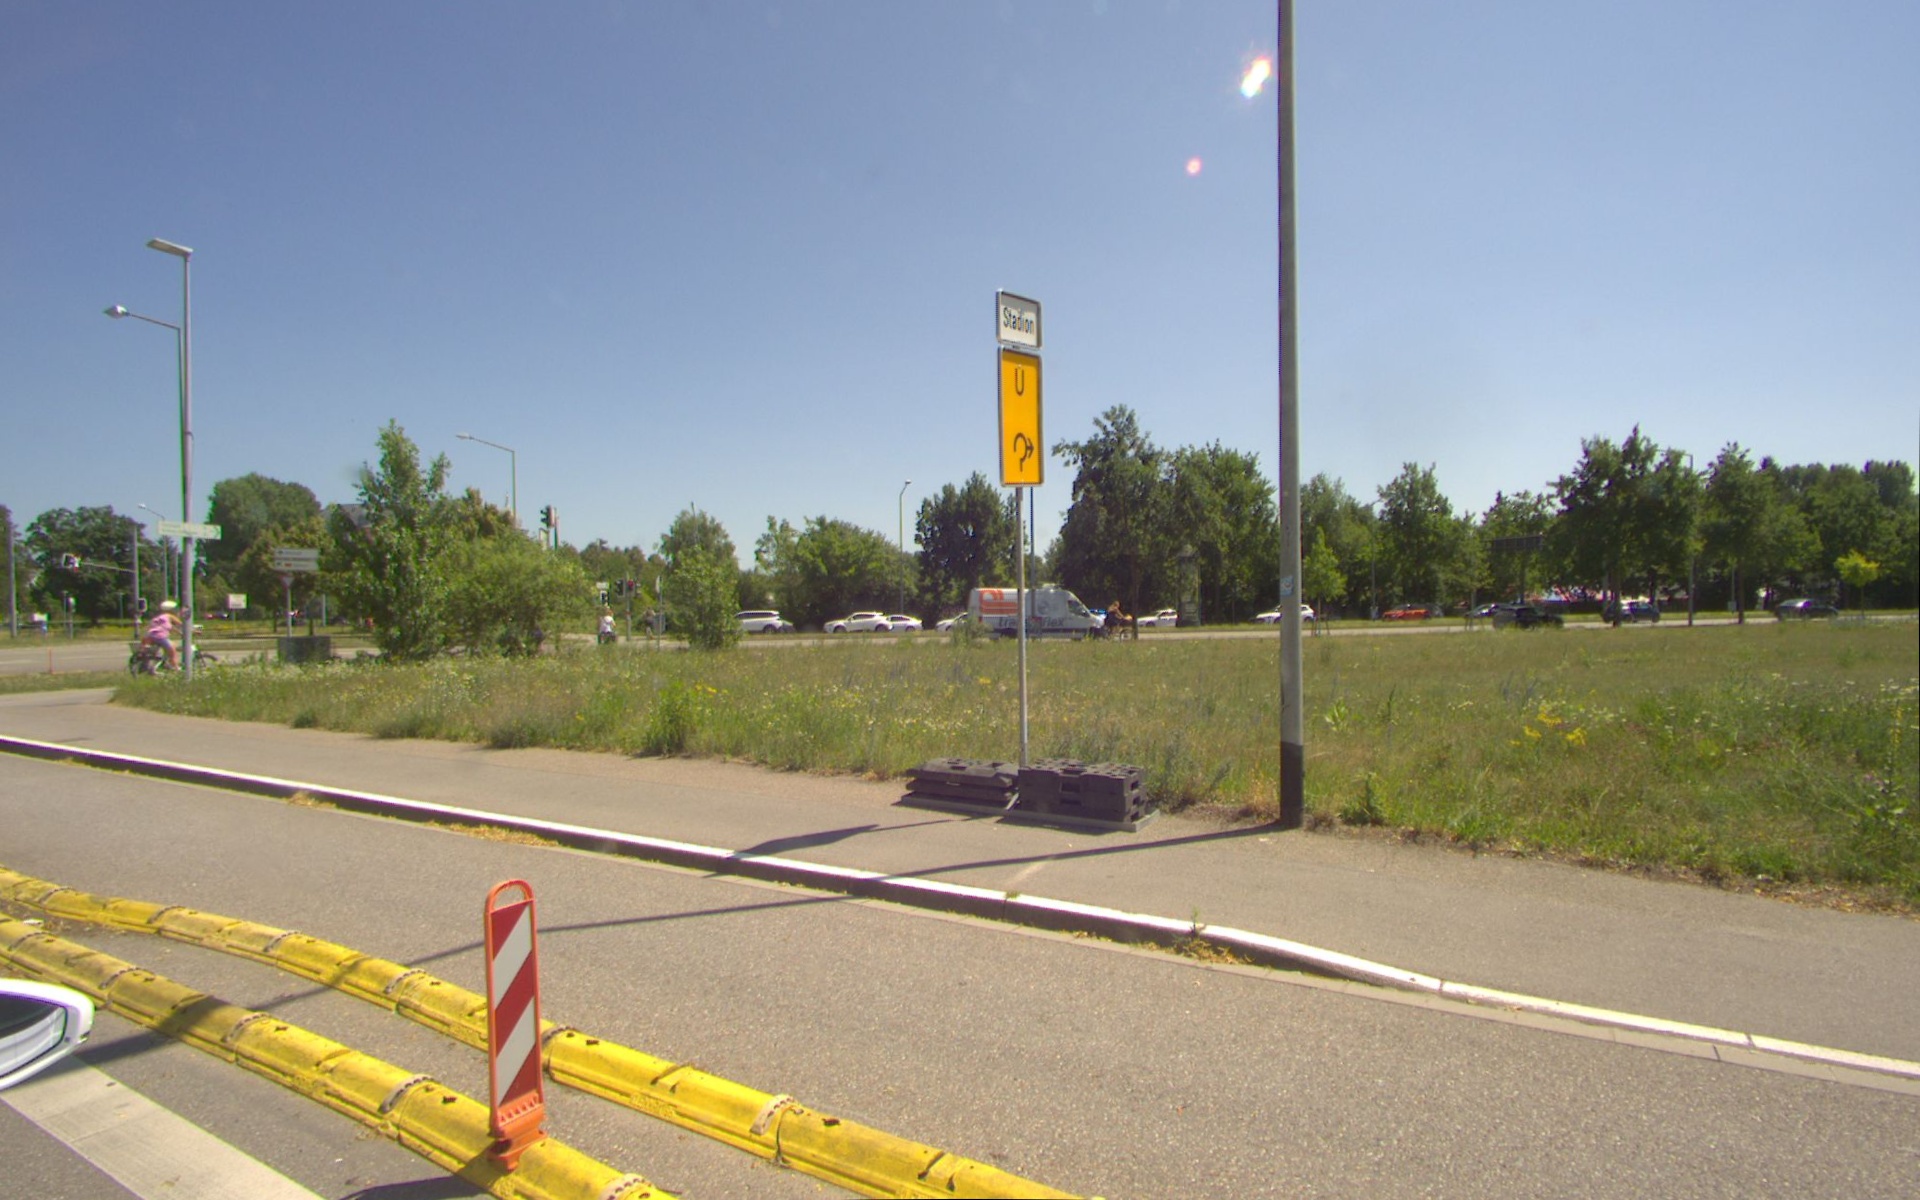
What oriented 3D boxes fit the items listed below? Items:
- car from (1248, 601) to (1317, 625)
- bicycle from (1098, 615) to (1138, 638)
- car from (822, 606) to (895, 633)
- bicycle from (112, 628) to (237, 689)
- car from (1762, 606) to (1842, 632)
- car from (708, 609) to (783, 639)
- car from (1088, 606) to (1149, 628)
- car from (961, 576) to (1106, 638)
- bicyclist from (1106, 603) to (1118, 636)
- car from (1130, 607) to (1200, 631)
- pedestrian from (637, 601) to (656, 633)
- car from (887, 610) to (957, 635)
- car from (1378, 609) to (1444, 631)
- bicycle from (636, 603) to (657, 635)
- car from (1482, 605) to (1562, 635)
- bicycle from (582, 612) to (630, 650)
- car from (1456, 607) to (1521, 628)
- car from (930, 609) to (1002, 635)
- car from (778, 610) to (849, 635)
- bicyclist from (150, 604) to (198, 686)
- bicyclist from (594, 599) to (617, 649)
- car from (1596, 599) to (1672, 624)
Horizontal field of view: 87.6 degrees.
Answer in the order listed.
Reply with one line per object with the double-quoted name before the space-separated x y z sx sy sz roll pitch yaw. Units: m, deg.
"car" 22.781 0.927 70.695 4.366 1.612 1.846 0 -2 -17
"bicycle" 6.419 1.073 40.646 1.564 0.895 0.369 0 -1 -10
"car" -6.381 1.238 62.896 4.365 1.612 1.846 0 -2 -16
"bicycle" -17.416 1.262 22.263 0.625 1.237 2.086 0 0 34
"car" 56.065 1.258 66.684 4.340 1.617 1.996 0 1 -16
"car" -12.995 1.462 60.576 4.365 1.758 1.846 0 -2 -16
"car" 11.246 1.232 71.170 3.927 1.558 1.764 0 -2 -14
"car" 3.543 0.380 48.259 6.764 2.864 1.997 0 -1 -18
"bicyclist" 6.164 0.787 40.603 0.349 1.336 0.379 0 -1 -9
"car" 14.071 1.334 68.783 4.365 1.612 1.846 0 -2 -16
"pedestrian" -16.727 0.902 53.483 0.954 1.681 0.885 0 -1 -16
"car" -2.561 1.537 66.887 4.365 1.612 1.846 0 -2 -16
"car" 33.629 1.520 74.640 4.337 1.612 1.846 0 -2 -16
"bicycle" -16.770 1.037 53.620 0.967 1.617 2.879 0 -2 -16
"car" 31.687 1.119 56.437 3.932 1.573 1.723 1 1 -20
"bicycle" -13.145 1.163 37.274 0.628 1.370 2.896 0 -2 4
"car" 40.555 1.365 76.857 4.365 1.612 1.846 0 -2 -16
"car" 0.369 1.425 64.879 4.365 1.612 1.846 0 -2 -16
"car" -9.516 1.481 64.845 4.365 1.612 1.846 0 -2 -16
"bicyclist" -17.432 0.982 22.221 0.584 1.776 0.668 1 2 34
"bicyclist" -13.154 0.892 37.166 0.597 1.864 0.572 0 -1 2
"car" 44.767 0.757 66.497 4.344 1.617 1.994 0 1 -20
